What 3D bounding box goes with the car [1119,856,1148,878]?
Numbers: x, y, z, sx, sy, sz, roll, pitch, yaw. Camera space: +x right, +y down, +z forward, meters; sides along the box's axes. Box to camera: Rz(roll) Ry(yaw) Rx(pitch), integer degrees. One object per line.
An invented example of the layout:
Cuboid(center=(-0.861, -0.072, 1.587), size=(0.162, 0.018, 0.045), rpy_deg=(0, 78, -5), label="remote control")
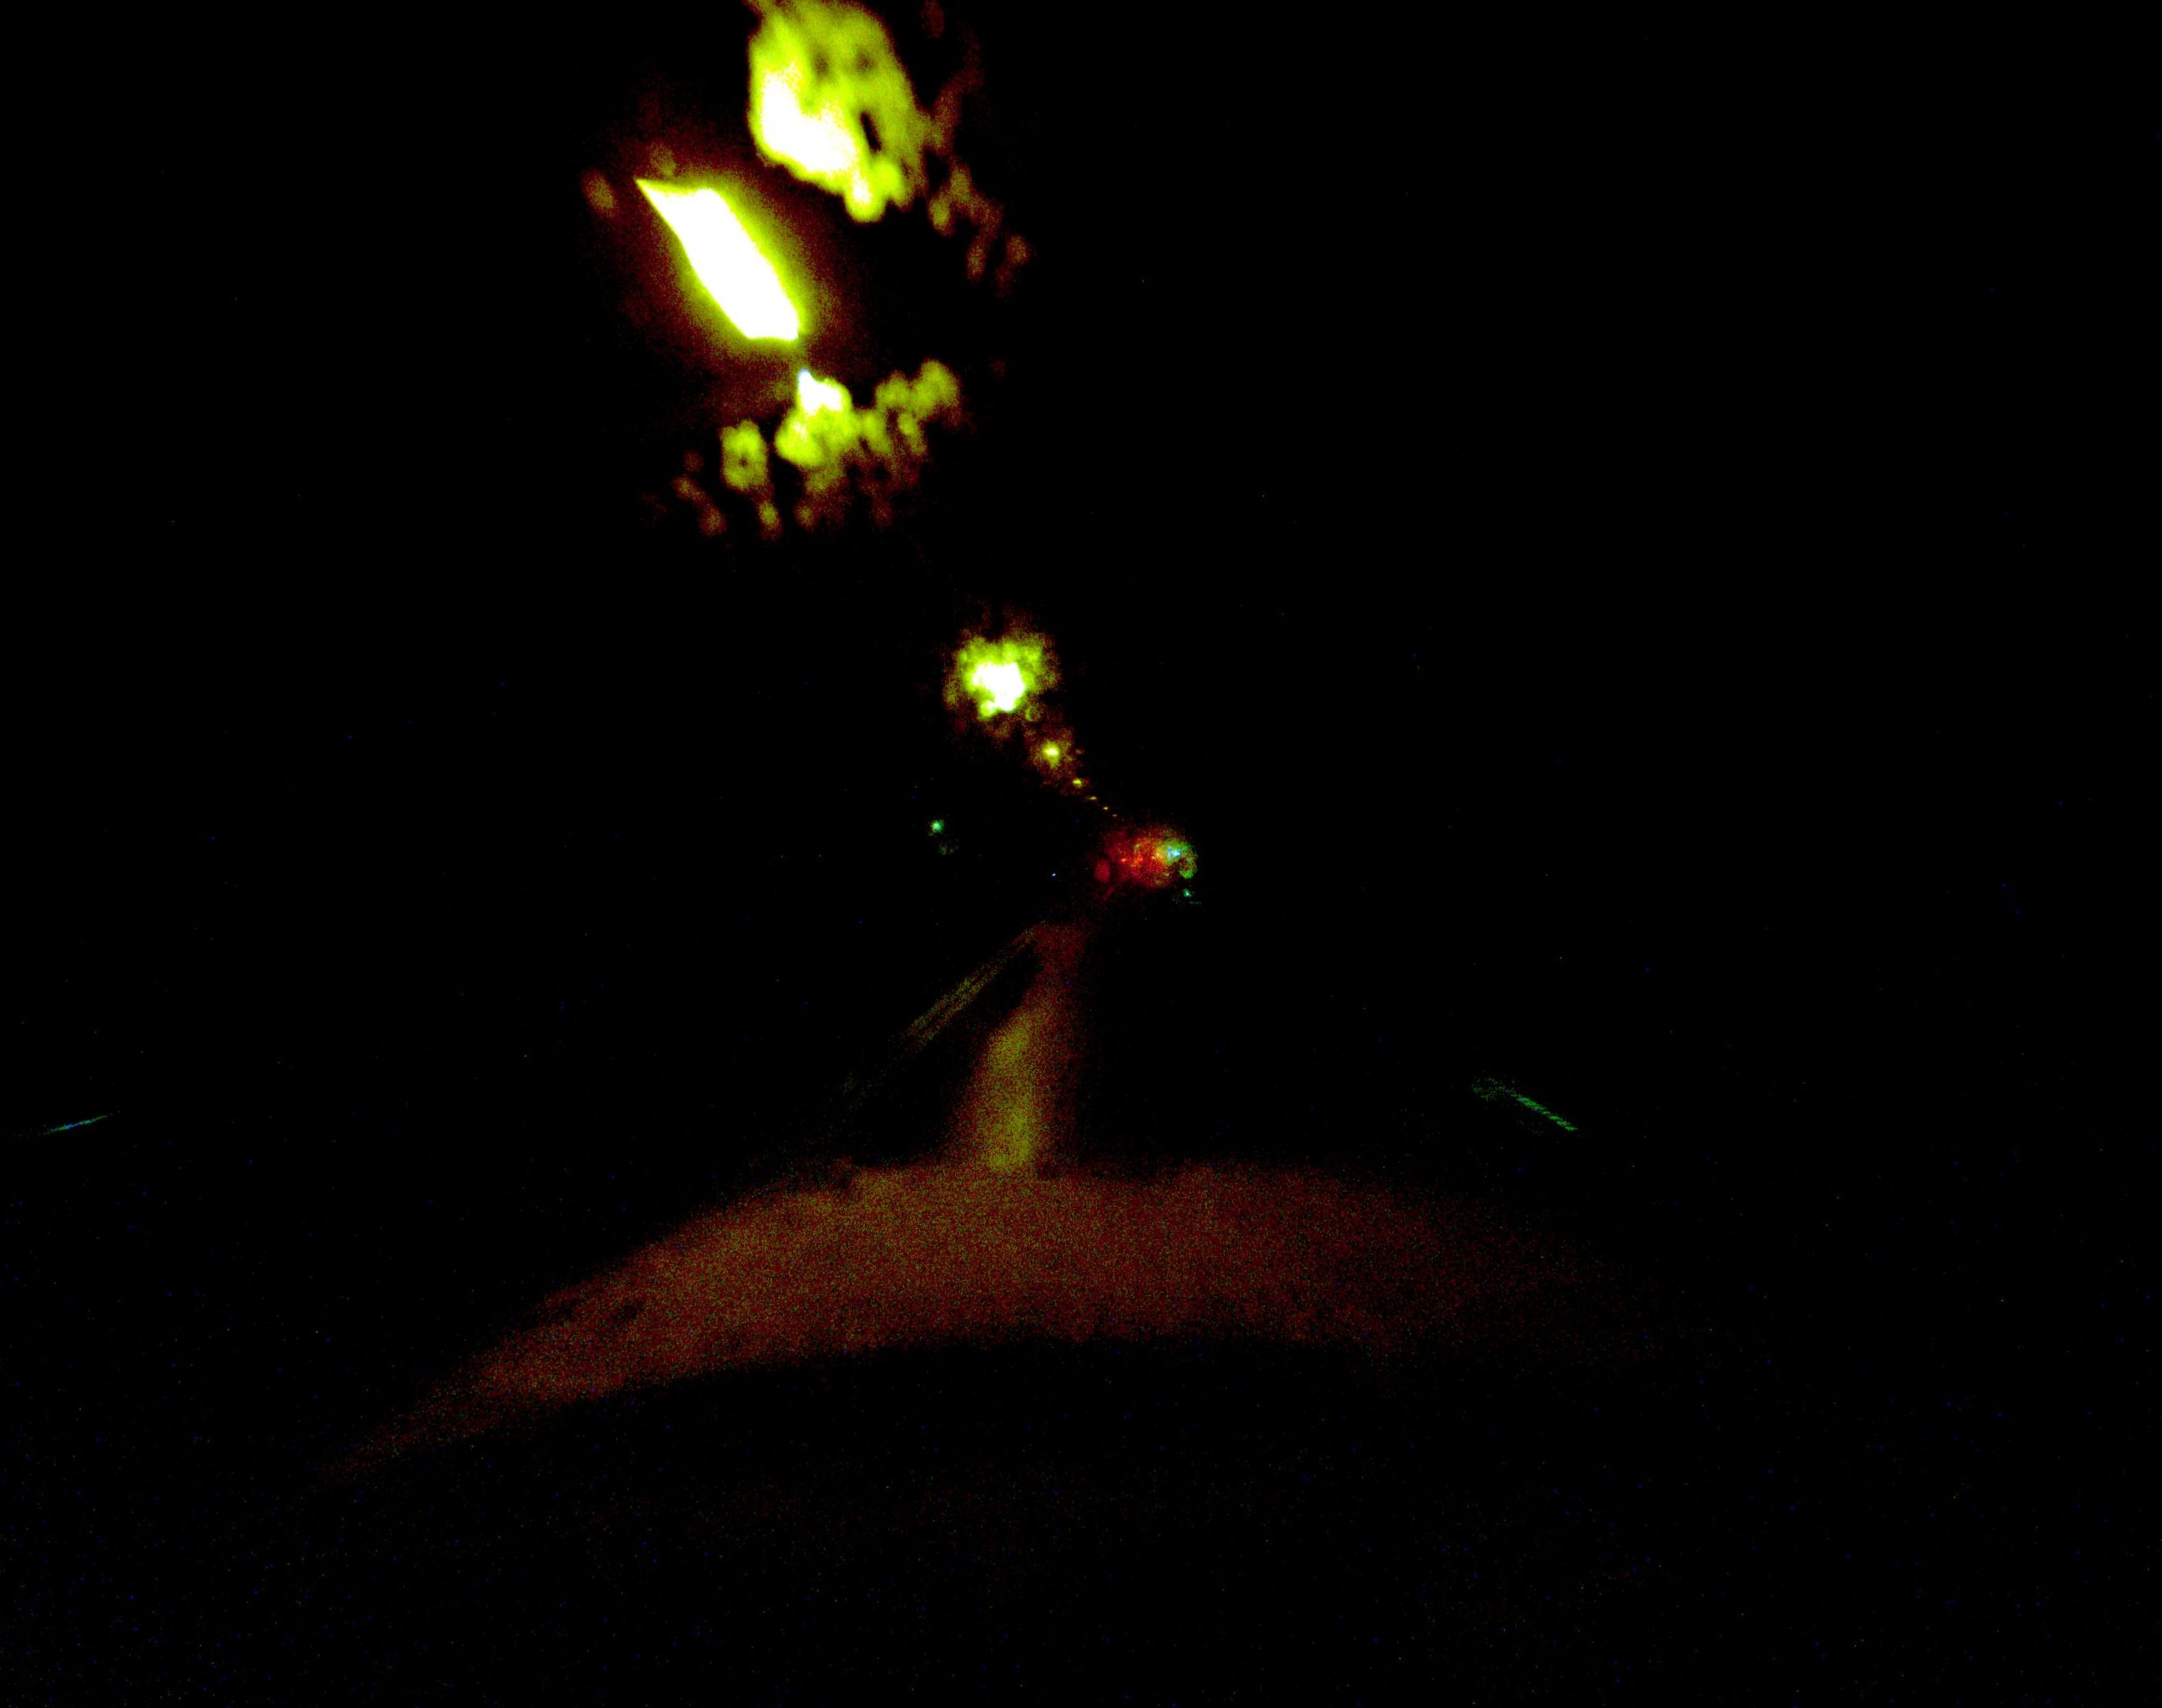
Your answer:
Cuboid(center=(4.209, 1.017, 64.764), size=(2.079, 1.662, 4.007), rpy_deg=(0, -1, 6), label="car")
